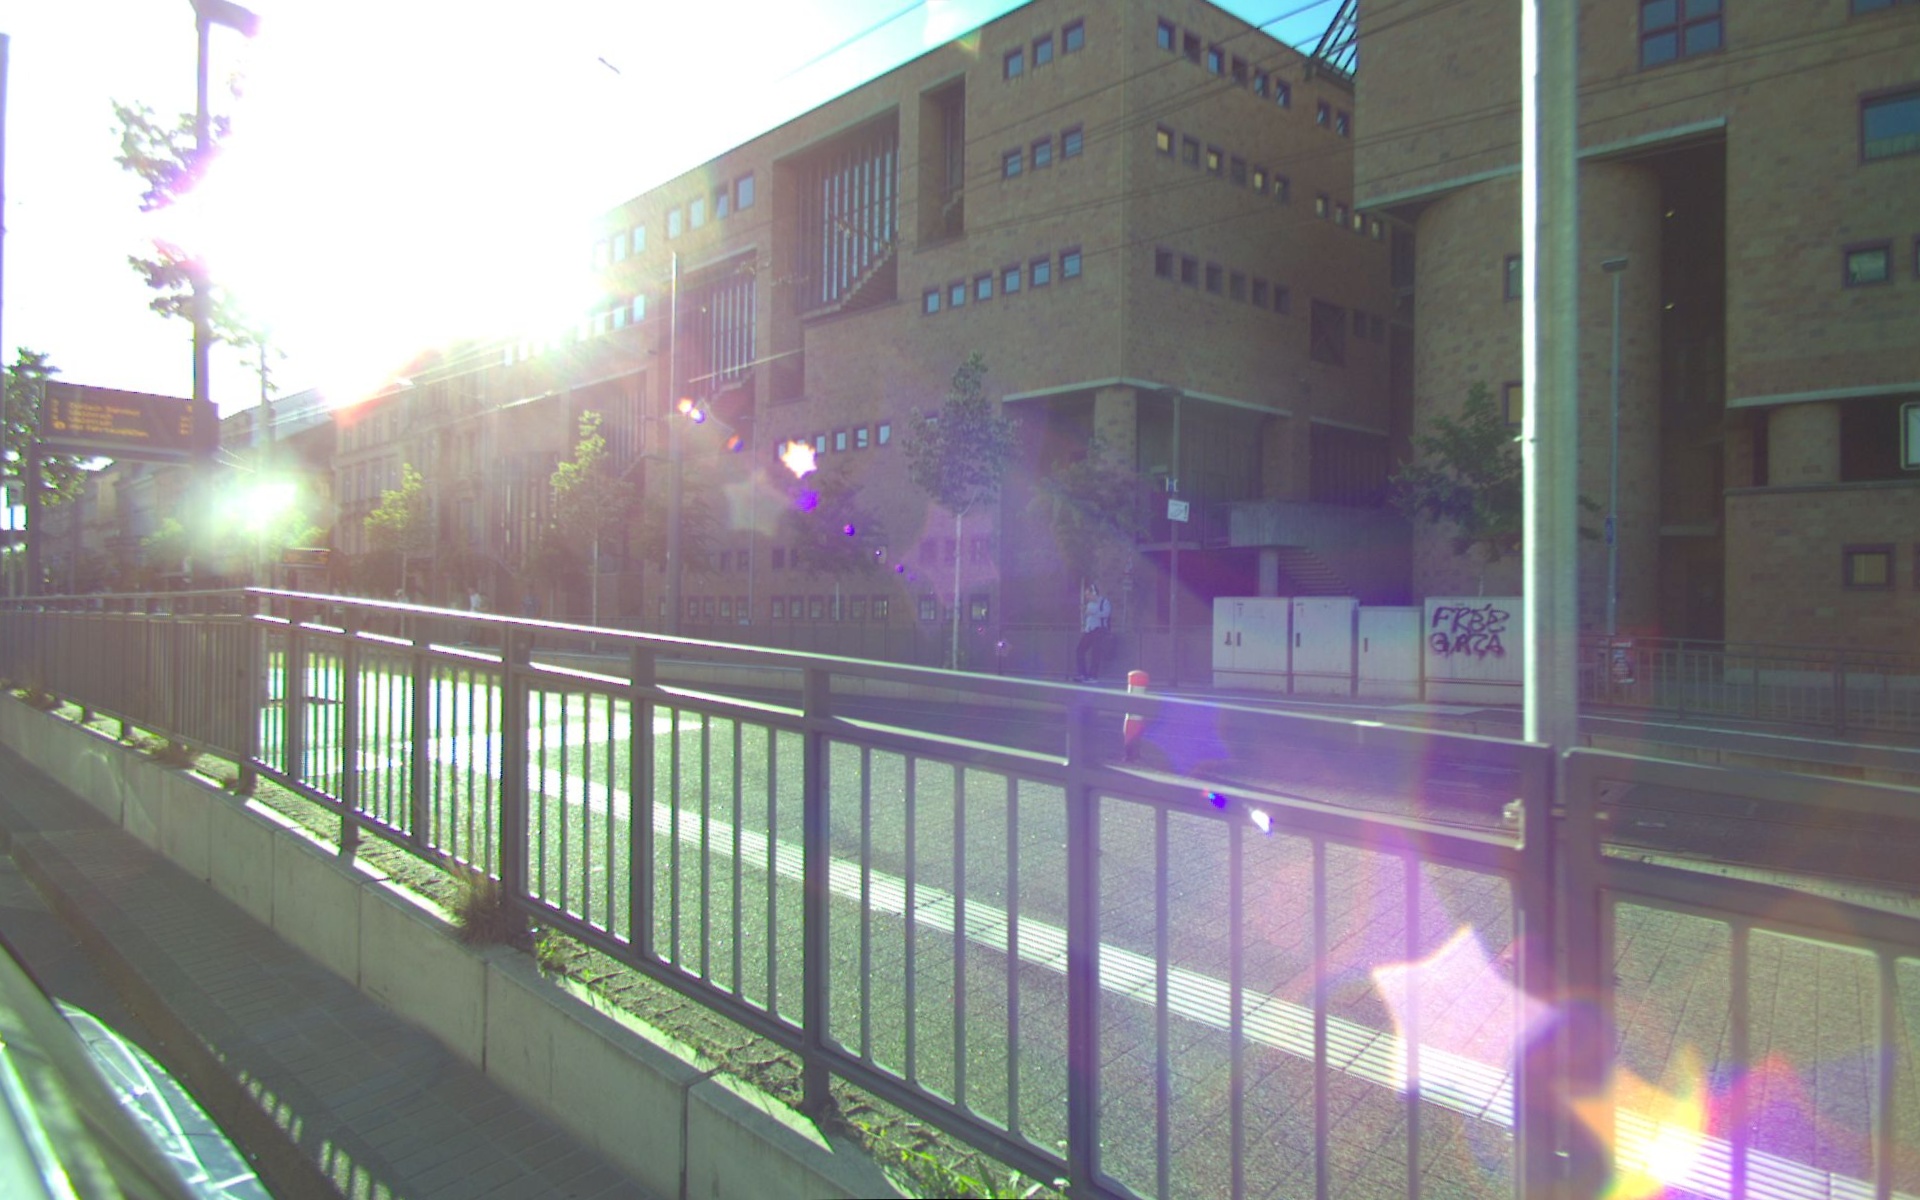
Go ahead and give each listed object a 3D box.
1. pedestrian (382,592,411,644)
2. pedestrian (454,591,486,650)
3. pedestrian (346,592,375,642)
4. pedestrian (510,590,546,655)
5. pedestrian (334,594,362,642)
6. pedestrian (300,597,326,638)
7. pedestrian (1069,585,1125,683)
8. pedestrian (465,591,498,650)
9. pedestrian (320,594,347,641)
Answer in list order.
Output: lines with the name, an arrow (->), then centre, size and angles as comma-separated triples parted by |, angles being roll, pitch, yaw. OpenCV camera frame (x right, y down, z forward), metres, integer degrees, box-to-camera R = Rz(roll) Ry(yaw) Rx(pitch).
pedestrian -> -19.237, 0.616, 34.551 | 0.586, 1.755, 0.684 | -1, -2, 38
pedestrian -> -14.980, 0.624, 30.949 | 0.586, 1.755, 0.684 | -1, -2, 38
pedestrian -> -21.495, 0.620, 36.285 | 0.586, 1.755, 0.684 | -1, -2, 38
pedestrian -> -11.743, 0.609, 27.532 | 0.586, 1.755, 0.684 | -1, -2, 38
pedestrian -> -22.450, 0.664, 37.121 | 0.586, 1.755, 0.684 | -1, -2, 38
pedestrian -> -25.390, 0.677, 39.702 | 0.586, 1.587, 0.684 | -1, -2, 38
pedestrian -> 2.232, 0.550, 16.481 | 0.653, 1.546, 0.693 | -1, -2, 38
pedestrian -> -14.404, 0.609, 30.468 | 0.586, 1.755, 0.684 | -1, -2, 38
pedestrian -> -23.537, 0.651, 38.000 | 0.586, 1.755, 0.684 | -1, -2, 38
